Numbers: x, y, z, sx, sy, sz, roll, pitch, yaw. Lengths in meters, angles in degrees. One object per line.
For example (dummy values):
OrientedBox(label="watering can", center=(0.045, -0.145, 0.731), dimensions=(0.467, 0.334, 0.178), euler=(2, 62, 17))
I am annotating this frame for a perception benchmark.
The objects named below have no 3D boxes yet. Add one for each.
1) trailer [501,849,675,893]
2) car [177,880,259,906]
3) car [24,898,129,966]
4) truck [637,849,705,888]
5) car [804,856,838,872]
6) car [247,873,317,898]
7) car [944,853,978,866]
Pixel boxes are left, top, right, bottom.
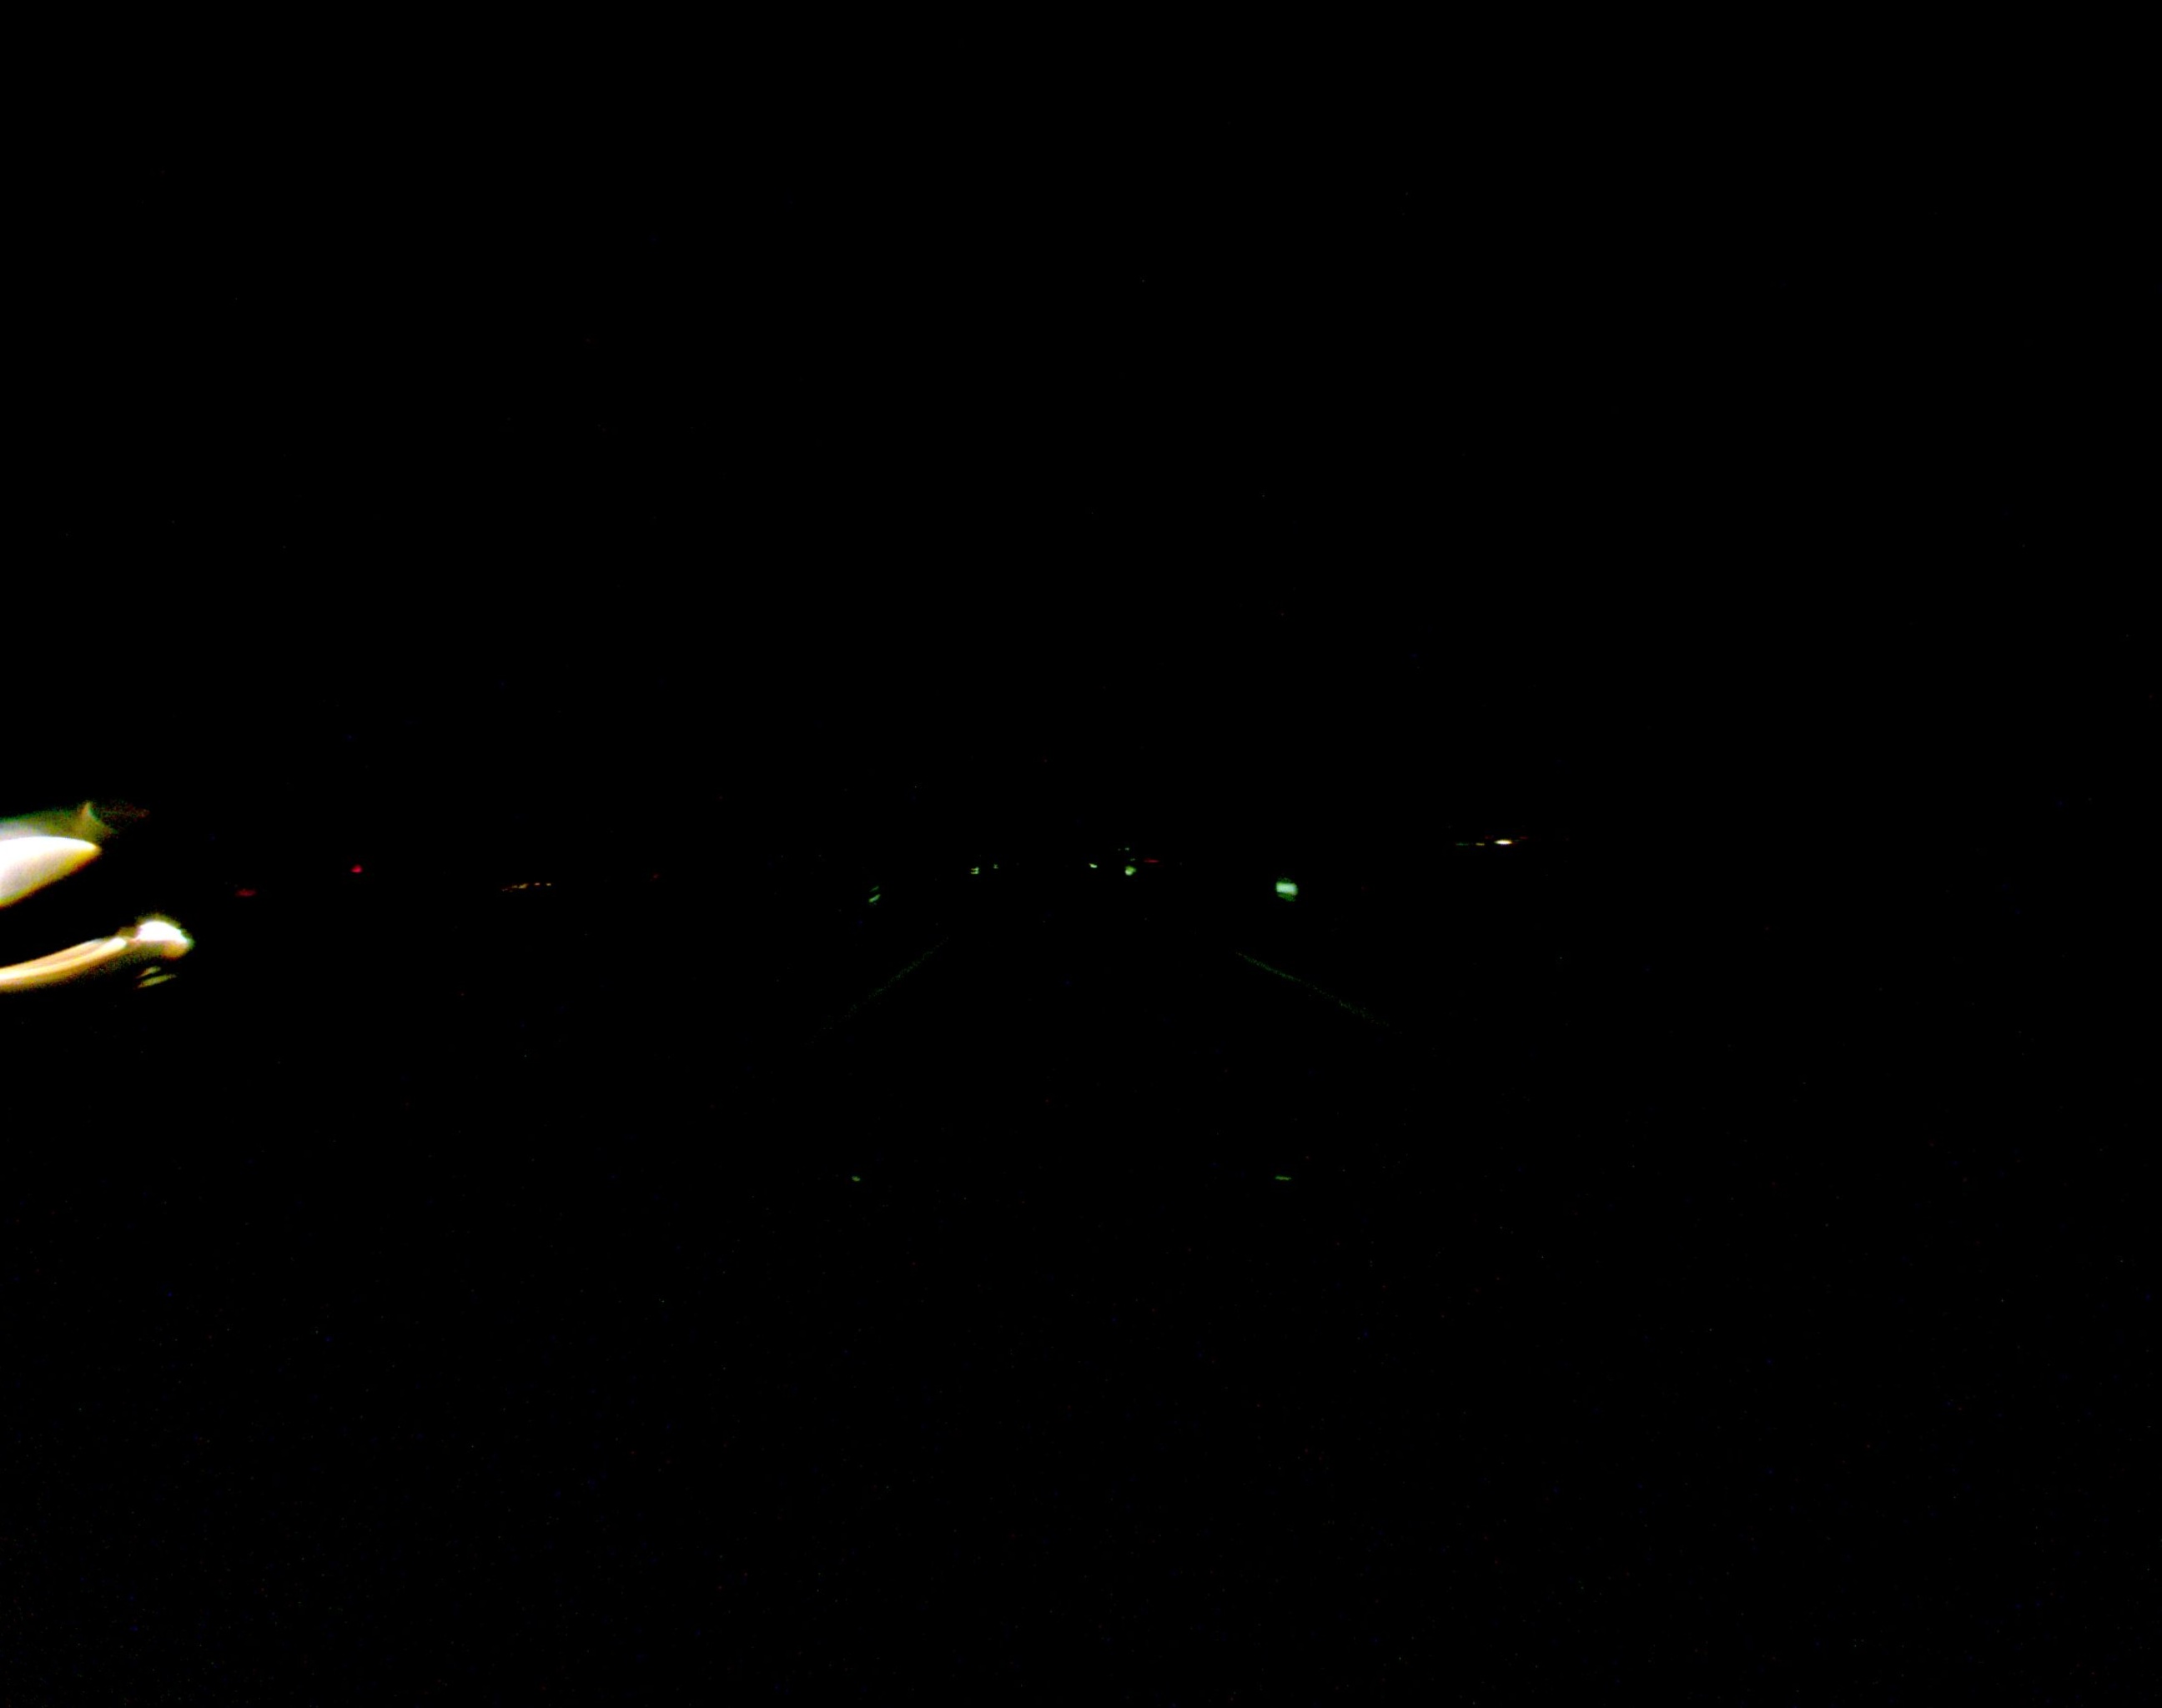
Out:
OrientedBox(label="trailer", center=(-45.635, 1.425, 76.039), dimensions=(13.727, 3.725, 2.569), euler=(-1, 1, -42))
OrientedBox(label="car", center=(-62.754, 2.814, 59.242), dimensions=(1.975, 1.618, 4.025), euler=(0, 1, 42))
OrientedBox(label="car", center=(-29.999, 2.245, 24.296), dimensions=(3.948, 1.639, 1.771), euler=(0, 1, 36))
OrientedBox(label="truck", center=(-40.593, 1.372, 80.676), dimensions=(5.488, 3.711, 2.565), euler=(-1, 1, -42))
OrientedBox(label="car", center=(-35.185, 1.382, 110.209), dimensions=(4.023, 2.013, 1.948), euler=(-1, 1, -45))
OrientedBox(label="car", center=(-72.378, 2.848, 73.842), dimensions=(4.496, 2.013, 1.975), euler=(-1, 1, -45))
OrientedBox(label="car", center=(-15.693, 0.706, 106.622), dimensions=(4.023, 1.519, 1.975), euler=(-1, 1, -44))
